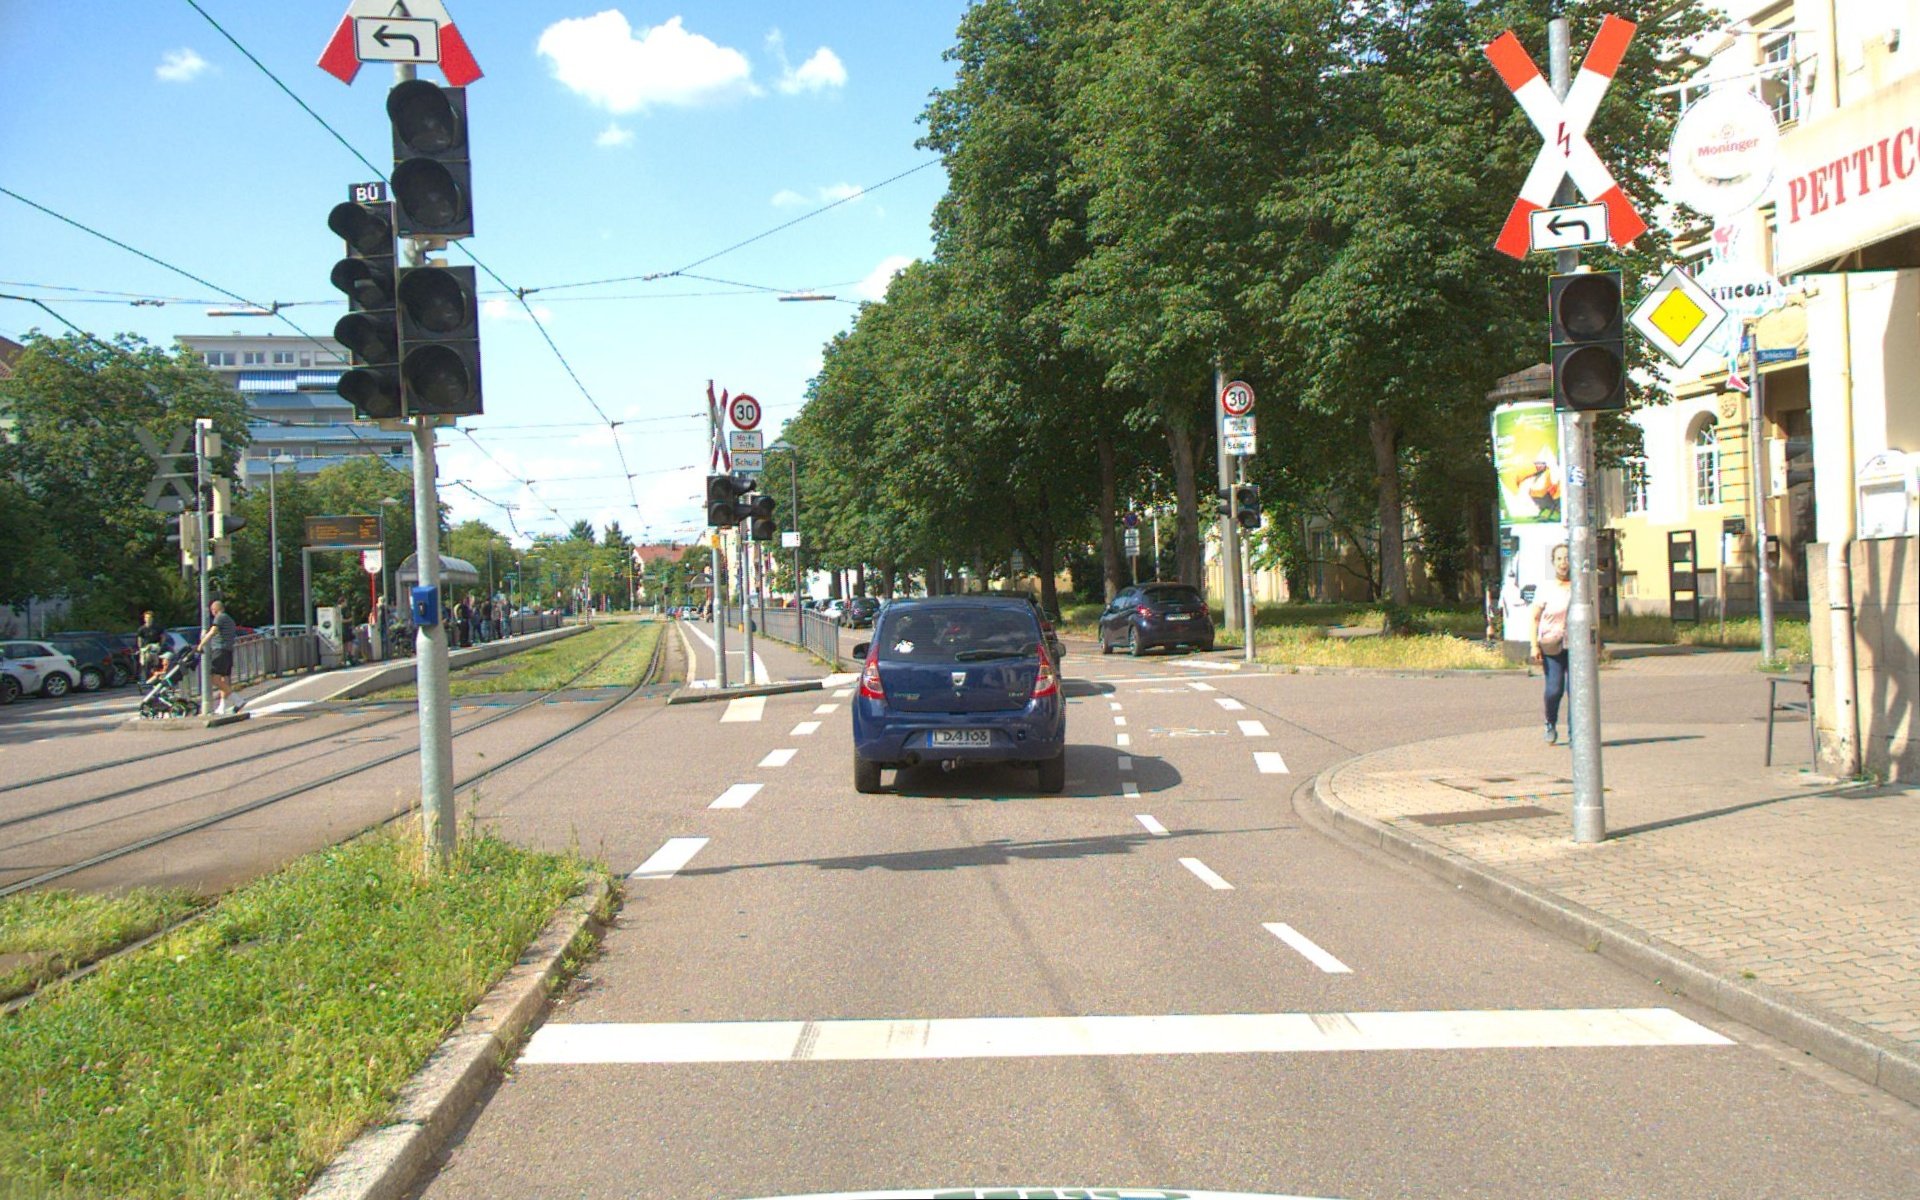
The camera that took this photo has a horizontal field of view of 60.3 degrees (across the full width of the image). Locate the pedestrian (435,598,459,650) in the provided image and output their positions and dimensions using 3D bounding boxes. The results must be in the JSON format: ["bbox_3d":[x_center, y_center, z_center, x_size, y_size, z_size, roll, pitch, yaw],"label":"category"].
[{"bbox_3d":[-17.792,0.822,57.375,0.582,1.766,0.556,-3,0,-5],"label":"pedestrian"}]

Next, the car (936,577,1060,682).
[{"bbox_3d":[0.487,0.376,24.207,1.665,1.391,3.514,-1,1,-1],"label":"car"}]

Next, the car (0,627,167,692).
[{"bbox_3d":[-24.481,1.630,46.008,1.659,1.482,3.980,-3,1,40],"label":"car"}]

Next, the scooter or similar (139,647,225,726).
[{"bbox_3d":[-11.891,1.309,25.296,0.937,1.083,0.795,-5,1,-10],"label":"scooter or similar"}]

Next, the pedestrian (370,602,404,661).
[{"bbox_3d":[-16.211,0.878,46.802,0.650,1.596,0.685,-4,0,-2],"label":"pedestrian"}]

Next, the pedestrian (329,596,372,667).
[{"bbox_3d":[-15.405,0.790,41.822,0.699,1.756,0.666,-2,0,32],"label":"pedestrian"}]

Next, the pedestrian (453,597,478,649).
[{"bbox_3d":[-17.476,0.811,58.456,0.592,1.796,0.639,-2,0,0],"label":"pedestrian"}]

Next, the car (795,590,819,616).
[{"bbox_3d":[-11.353,0.194,122.522,1.635,1.802,3.995,-3,0,-6],"label":"car"}]

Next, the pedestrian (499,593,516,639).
[{"bbox_3d":[-20.827,0.733,76.076,0.649,2.048,0.800,-2,0,-15],"label":"pedestrian"}]

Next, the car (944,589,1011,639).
[{"bbox_3d":[0.553,0.431,55.137,1.825,1.470,3.997,-4,0,-4],"label":"car"}]

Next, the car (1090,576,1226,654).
[{"bbox_3d":[4.110,0.298,35.008,1.734,1.458,3.894,-3,0,-10],"label":"car"}]

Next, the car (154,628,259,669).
[{"bbox_3d":[-27.641,1.771,60.742,1.426,1.332,3.236,-2,0,34],"label":"car"}]

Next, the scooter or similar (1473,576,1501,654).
[{"bbox_3d":[8.474,0.224,26.611,0.299,1.210,1.163,-2,0,13],"label":"scooter or similar"}]

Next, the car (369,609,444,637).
[{"bbox_3d":[-33.677,1.383,100.754,3.970,1.472,1.700,-3,0,-44],"label":"car"}]

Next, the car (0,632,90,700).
[{"bbox_3d":[-23.527,1.658,40.735,1.517,1.531,3.368,-3,0,42],"label":"car"}]

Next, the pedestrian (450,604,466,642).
[{"bbox_3d":[-19.653,0.897,64.752,0.481,1.477,0.461,-3,0,-19],"label":"pedestrian"}]

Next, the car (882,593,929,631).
[{"bbox_3d":[-2.385,0.505,71.719,1.815,1.542,3.997,-3,0,-4],"label":"car"}]

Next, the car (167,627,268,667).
[{"bbox_3d":[-28.451,1.788,63.452,1.426,1.332,3.236,-2,0,34],"label":"car"}]

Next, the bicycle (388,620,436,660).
[{"bbox_3d":[-15.459,1.127,46.724,0.672,0.991,1.771,-5,1,0],"label":"bicycle"}]

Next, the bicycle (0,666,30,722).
[{"bbox_3d":[-18.322,1.801,31.017,0.667,0.987,2.176,-3,0,-6],"label":"bicycle"}]

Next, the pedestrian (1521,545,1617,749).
[{"bbox_3d":[5.209,0.389,14.181,0.658,1.677,0.764,-3,0,19],"label":"pedestrian"}]

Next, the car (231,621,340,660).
[{"bbox_3d":[-28.821,1.727,70.769,1.684,1.391,3.981,-3,1,39],"label":"car"}]

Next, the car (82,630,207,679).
[{"bbox_3d":[-25.664,1.690,52.123,1.425,1.332,3.239,-2,0,32],"label":"car"}]

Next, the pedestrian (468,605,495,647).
[{"bbox_3d":[-17.121,0.924,59.128,0.641,1.450,0.562,-3,0,28],"label":"pedestrian"}]

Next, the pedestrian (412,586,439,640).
[{"bbox_3d":[-17.249,0.417,53.344,0.643,1.721,0.655,-3,0,-9],"label":"pedestrian"}]

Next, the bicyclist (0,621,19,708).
[{"bbox_3d":[-18.394,1.235,31.170,0.770,1.609,0.862,-3,0,-6],"label":"bicyclist"}]

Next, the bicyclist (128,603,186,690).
[{"bbox_3d":[-19.725,1.131,40.658,0.932,2.048,1.569,-3,0,-17],"label":"bicyclist"}]

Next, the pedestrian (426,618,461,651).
[{"bbox_3d":[-17.060,1.150,54.668,0.907,1.006,0.796,-4,-1,-7],"label":"pedestrian"}]

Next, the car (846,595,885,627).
[{"bbox_3d":[-4.829,0.546,84.104,1.825,1.470,3.996,-4,0,-4],"label":"car"}]

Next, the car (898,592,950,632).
[{"bbox_3d":[-1.484,0.465,67.129,1.825,1.470,3.997,-4,0,-4],"label":"car"}]

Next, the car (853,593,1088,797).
[{"bbox_3d":[0.052,0.696,14.230,1.732,1.487,3.775,-1,0,-1],"label":"car"}]

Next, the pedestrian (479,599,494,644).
[{"bbox_3d":[-18.700,0.848,65.313,0.481,1.742,0.461,-3,0,-19],"label":"pedestrian"}]

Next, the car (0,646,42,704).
[{"bbox_3d":[-23.022,1.791,37.656,1.516,1.257,3.370,-2,0,41],"label":"car"}]

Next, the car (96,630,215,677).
[{"bbox_3d":[-26.587,1.765,54.743,1.426,1.332,3.236,-2,0,34],"label":"car"}]

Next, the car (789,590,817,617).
[{"bbox_3d":[-11.063,0.217,116.411,1.794,1.792,3.997,-3,0,-4],"label":"car"}]

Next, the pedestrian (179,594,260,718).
[{"bbox_3d":[-11.440,0.848,25.580,0.857,1.806,0.999,-4,1,-15],"label":"pedestrian"}]

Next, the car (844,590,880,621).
[{"bbox_3d":[-5.331,0.293,89.551,1.792,1.564,3.997,-3,0,-4],"label":"car"}]

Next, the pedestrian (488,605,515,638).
[{"bbox_3d":[-21.663,1.008,78.138,1.016,1.462,0.698,-4,1,-24],"label":"pedestrian"}]

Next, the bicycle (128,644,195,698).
[{"bbox_3d":[-19.633,1.720,40.712,1.136,1.198,1.780,-4,0,-16],"label":"bicycle"}]

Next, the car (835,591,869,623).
[{"bbox_3d":[-6.422,0.381,97.913,1.588,1.780,3.992,-3,0,-9],"label":"car"}]
